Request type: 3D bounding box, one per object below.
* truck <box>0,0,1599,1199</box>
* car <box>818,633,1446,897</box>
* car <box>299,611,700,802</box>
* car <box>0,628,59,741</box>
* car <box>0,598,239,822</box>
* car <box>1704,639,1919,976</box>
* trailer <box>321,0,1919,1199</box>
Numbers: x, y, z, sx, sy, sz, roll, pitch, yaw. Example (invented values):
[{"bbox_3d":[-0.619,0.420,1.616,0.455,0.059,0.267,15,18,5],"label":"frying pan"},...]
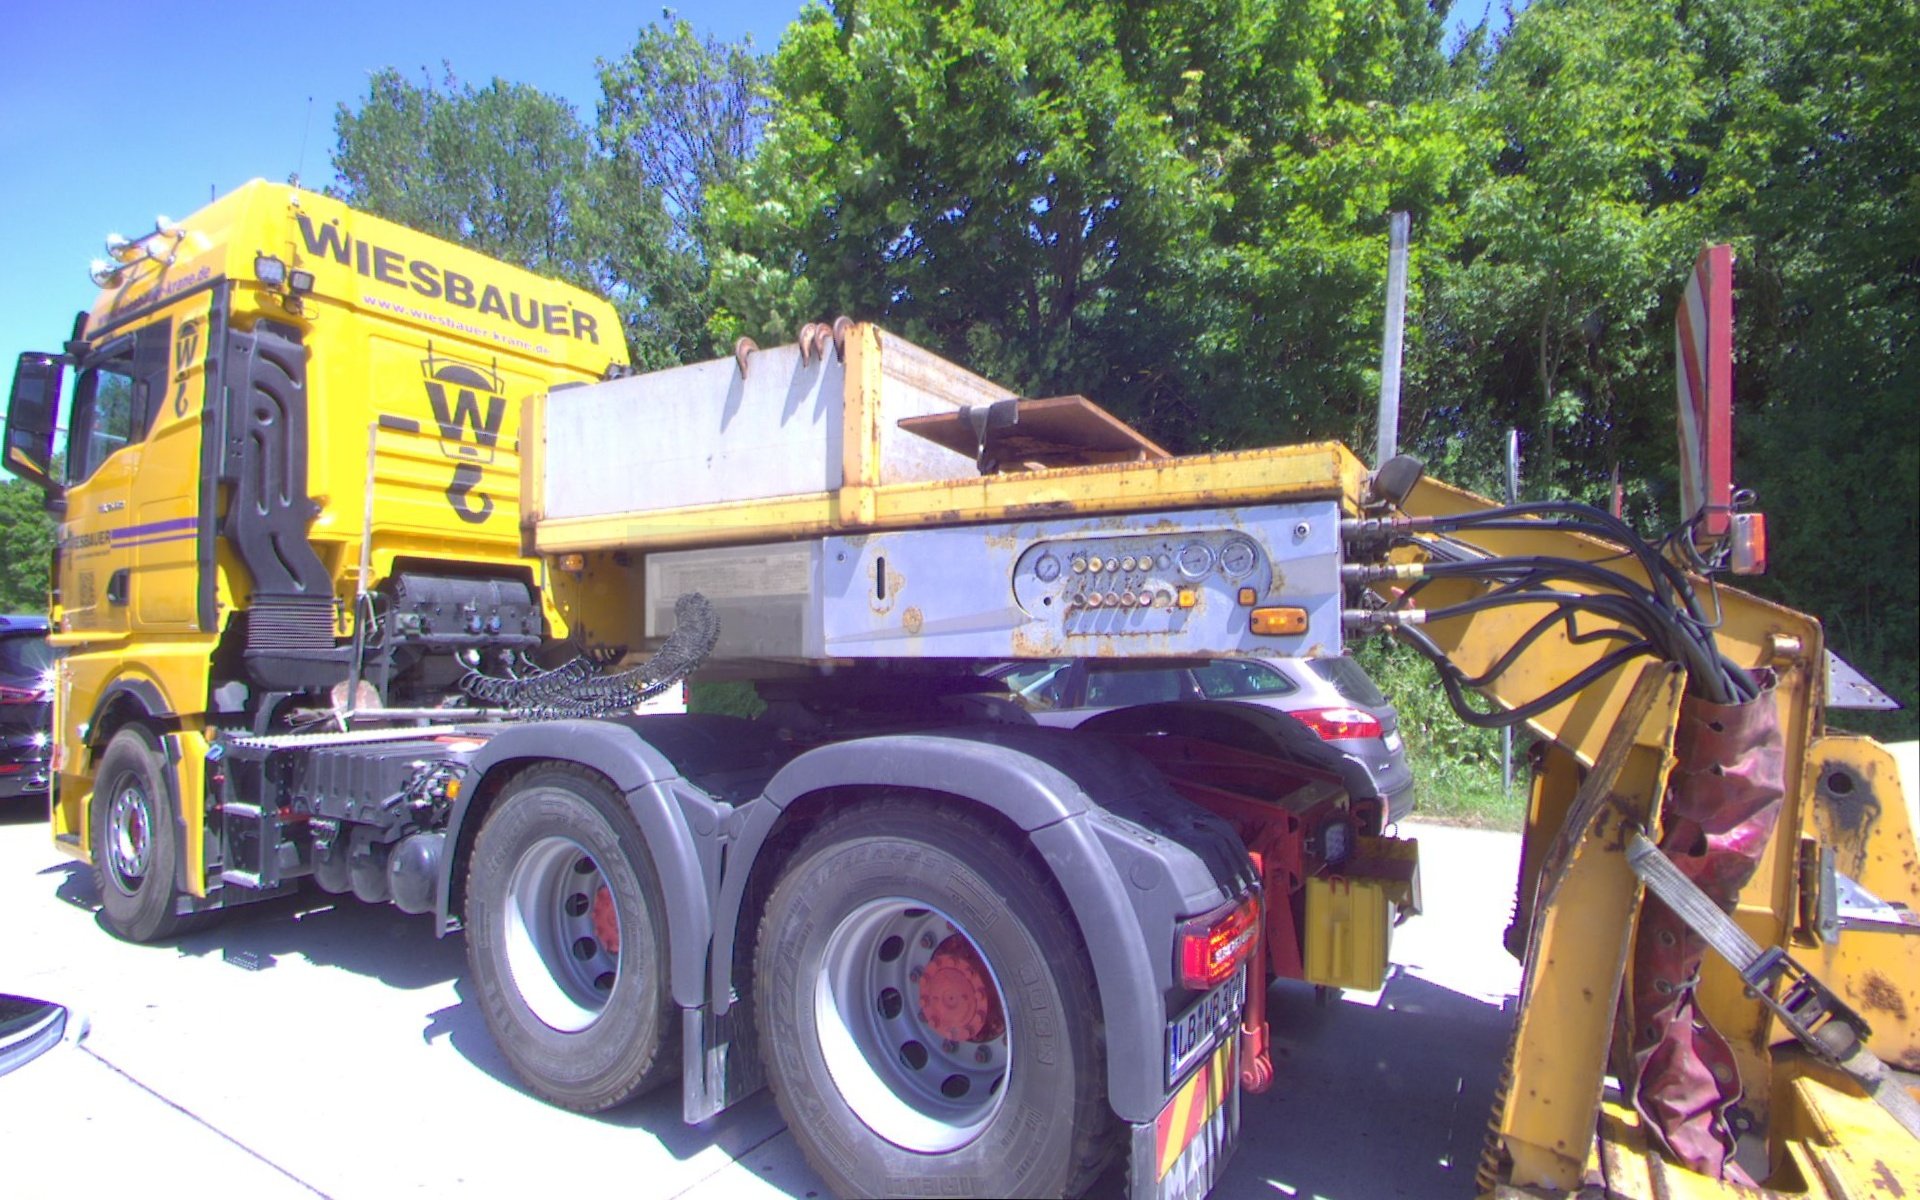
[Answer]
[{"bbox_3d":[-1.393,-0.332,4.785,7.361,3.821,3.009,-1,-2,31],"label":"truck"},{"bbox_3d":[1.174,0.994,7.483,4.300,1.481,1.765,-1,-2,31],"label":"car"},{"bbox_3d":[-5.378,1.092,11.541,4.720,1.830,1.766,-1,-2,29],"label":"car"},{"bbox_3d":[-14.196,1.108,13.747,4.548,1.428,1.763,-2,-2,35],"label":"car"},{"bbox_3d":[-8.661,0.885,9.272,4.584,1.660,1.779,-1,-2,35],"label":"car"},{"bbox_3d":[6.174,0.921,4.340,4.530,1.481,1.766,-1,-2,30],"label":"car"},{"bbox_3d":[5.423,0.199,0.634,16.117,2.626,3.023,-1,-2,31],"label":"trailer"}]
